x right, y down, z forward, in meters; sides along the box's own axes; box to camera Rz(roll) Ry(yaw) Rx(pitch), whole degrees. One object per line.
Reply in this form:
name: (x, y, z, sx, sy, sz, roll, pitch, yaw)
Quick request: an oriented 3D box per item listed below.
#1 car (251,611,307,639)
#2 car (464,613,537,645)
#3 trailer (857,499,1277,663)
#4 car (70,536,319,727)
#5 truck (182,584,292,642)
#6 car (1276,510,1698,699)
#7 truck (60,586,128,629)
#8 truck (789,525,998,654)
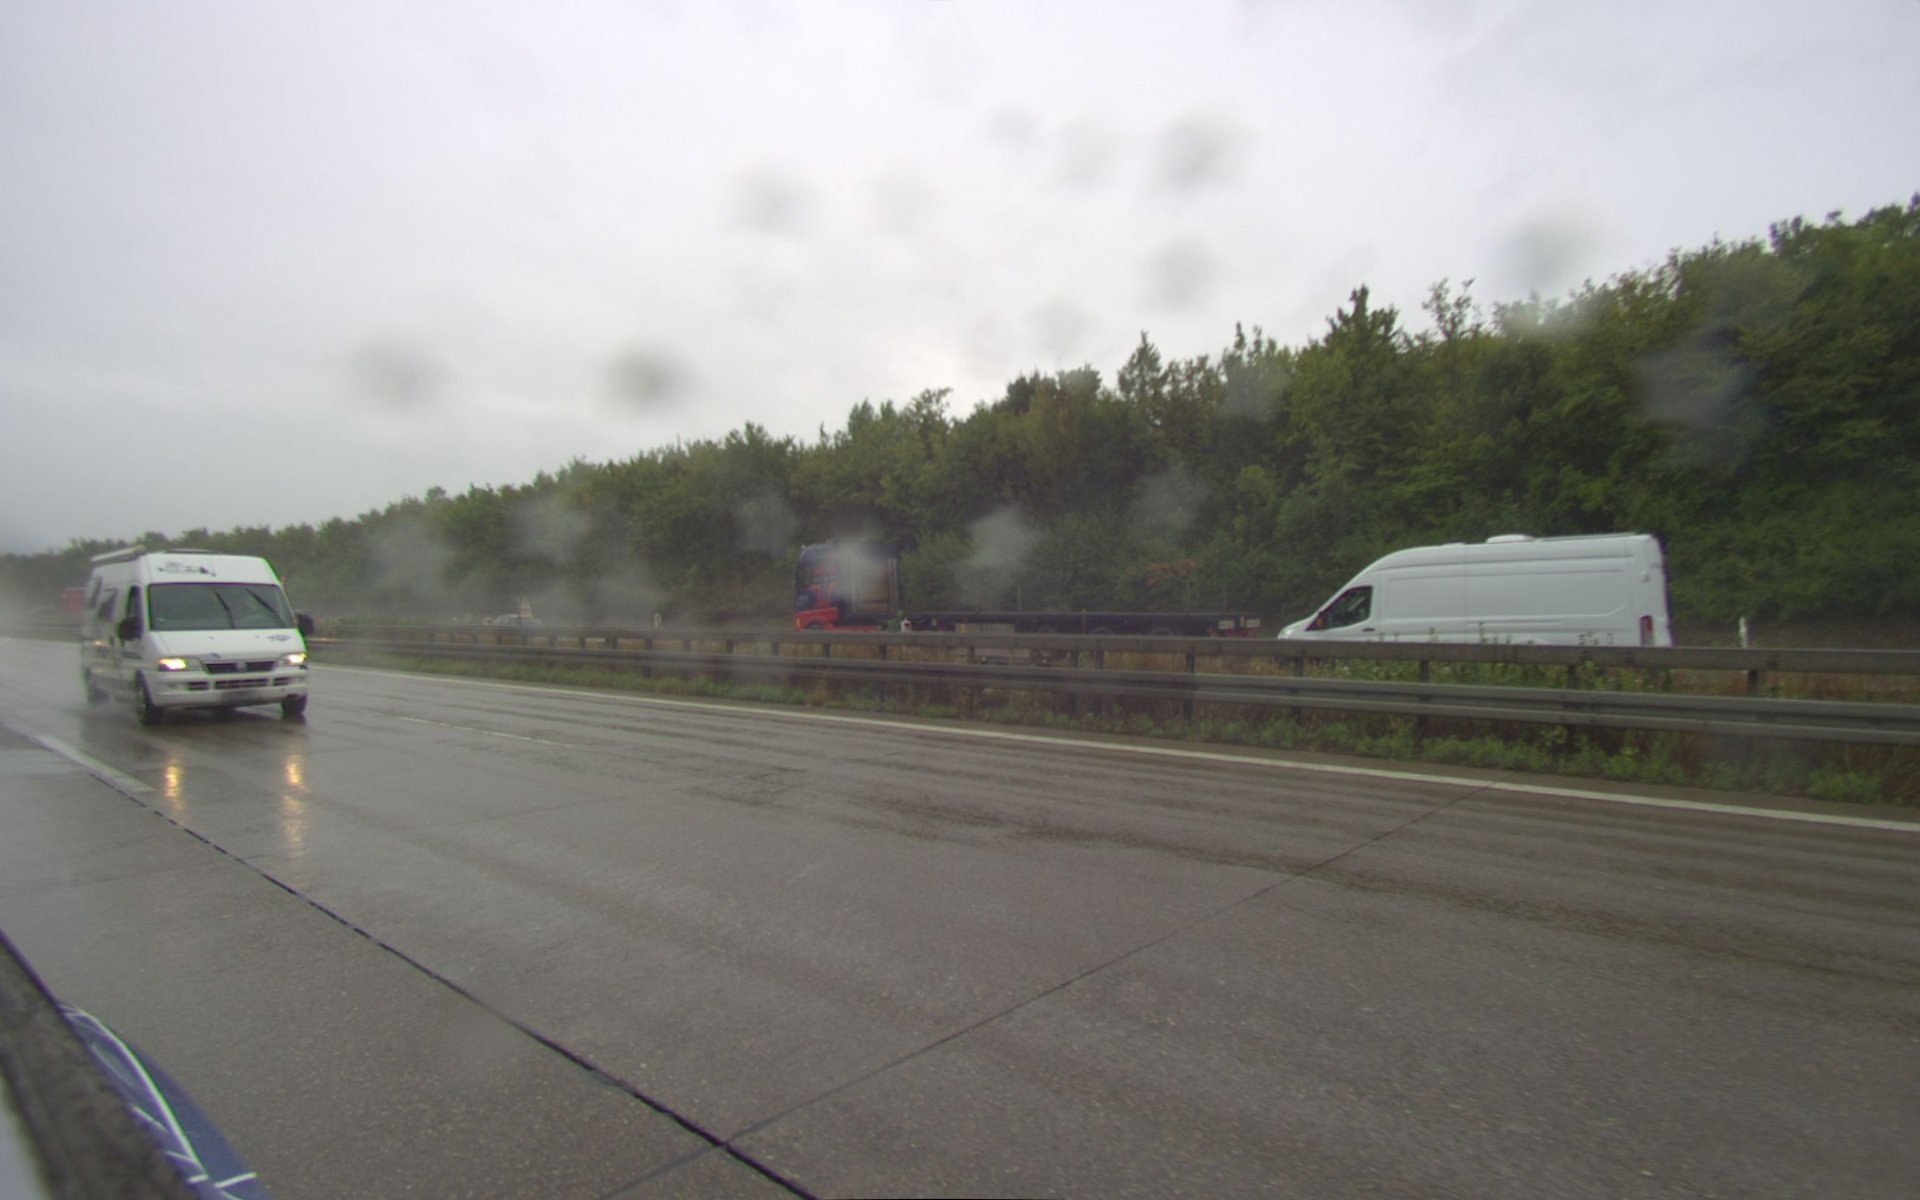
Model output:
car: (-42.269, 1.556, 62.778, 3.998, 1.671, 1.927, -1, -1, 41)
car: (-19.965, 1.237, 43.932, 3.316, 1.322, 1.649, -1, -1, 41)
trailer: (2.431, -0.342, 29.478, 12.869, 3.886, 3.102, -1, -1, 43)
car: (-12.001, 0.444, 15.670, 5.788, 2.450, 1.977, -1, -1, 42)
truck: (-57.900, 1.109, 80.732, 16.357, 4.277, 3.092, -1, -1, 40)
car: (9.369, 0.119, 18.559, 6.531, 2.922, 2.066, -1, -1, 42)
truck: (-91.885, 0.891, 107.222, 13.526, 4.277, 3.093, -1, -1, 39)
truck: (-2.360, -0.252, 33.890, 6.885, 3.886, 3.102, -1, -1, 43)
